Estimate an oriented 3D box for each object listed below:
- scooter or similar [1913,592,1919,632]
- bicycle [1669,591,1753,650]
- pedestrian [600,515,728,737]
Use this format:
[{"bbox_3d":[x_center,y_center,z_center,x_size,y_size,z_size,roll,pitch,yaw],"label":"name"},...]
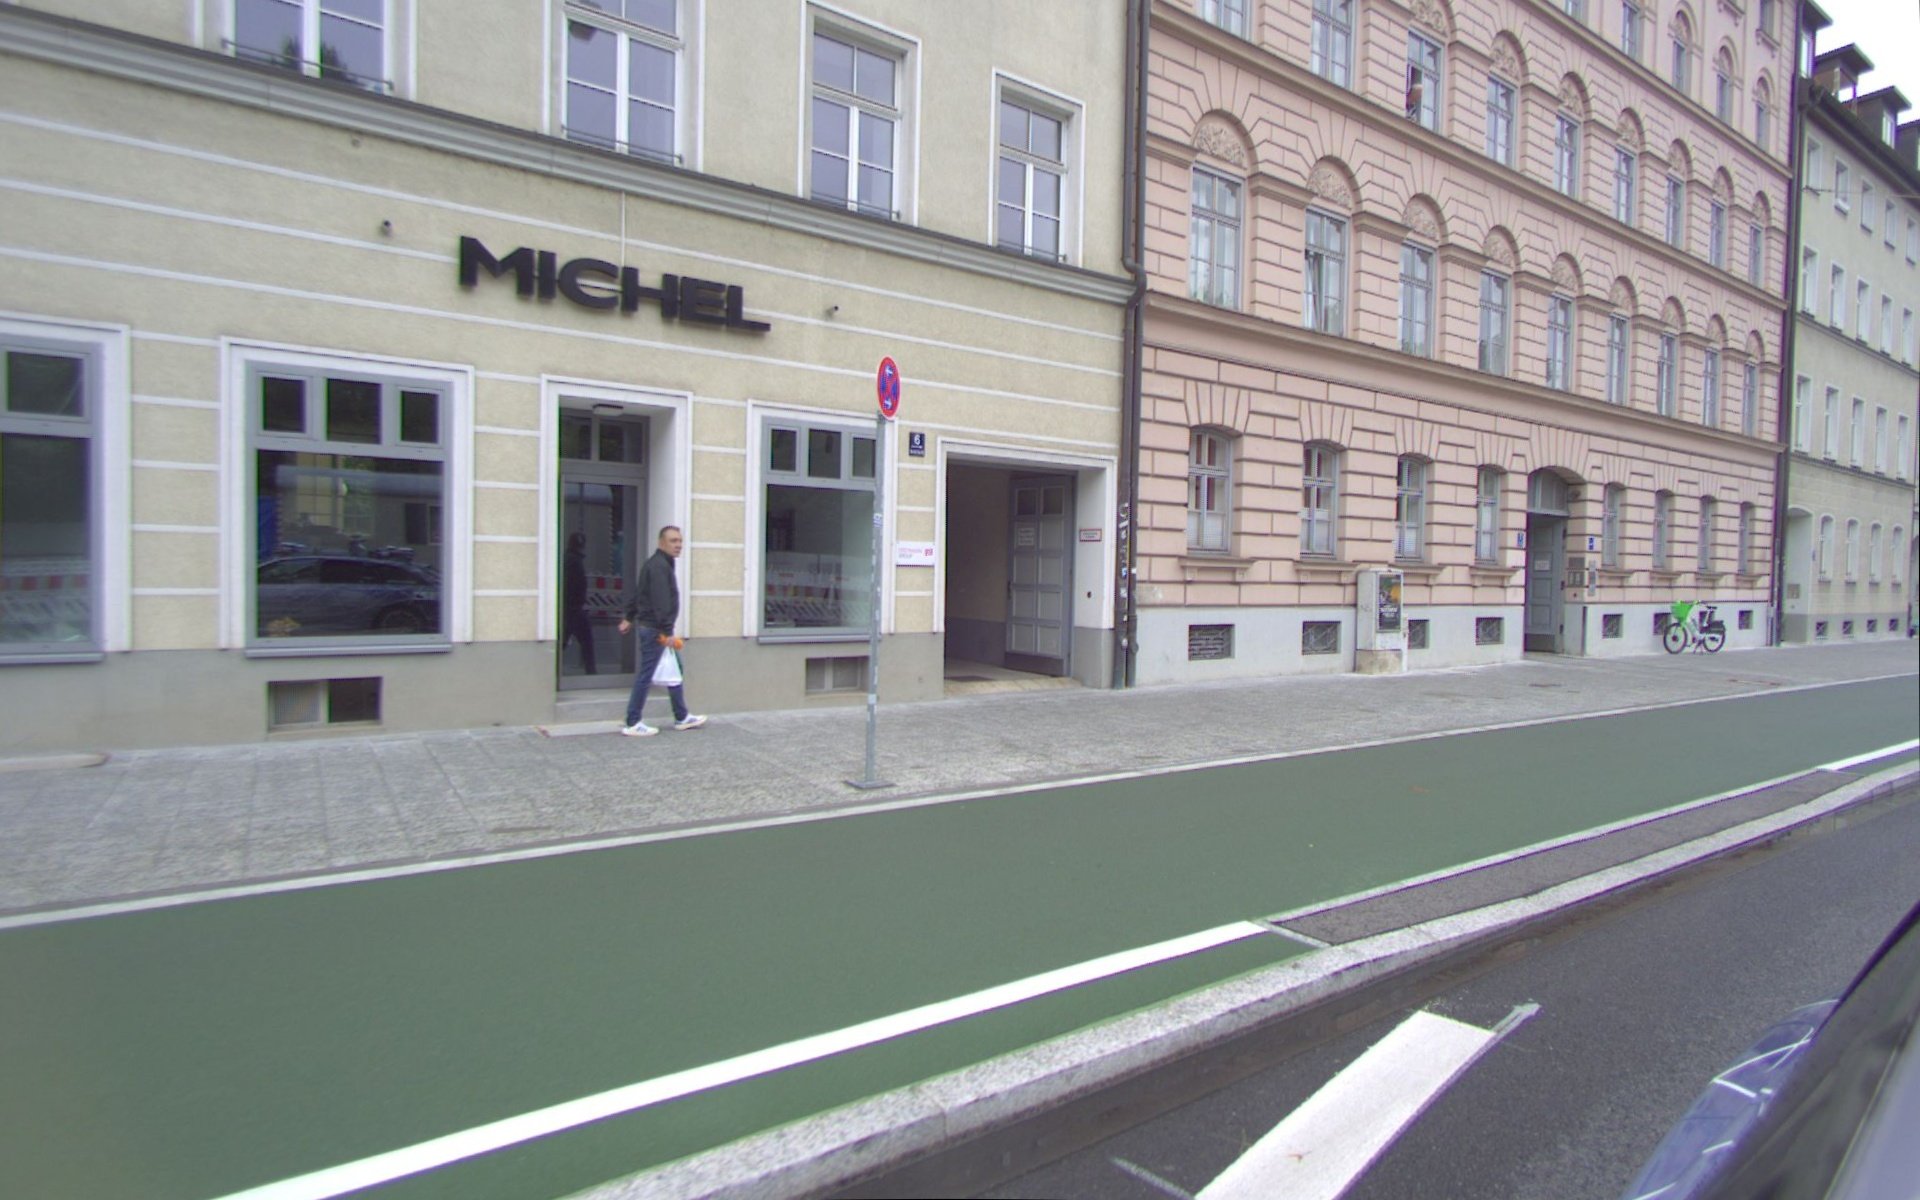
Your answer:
[{"bbox_3d":[30.958,0.387,32.001,1.057,1.260,0.553,1,2,1],"label":"scooter or similar"},{"bbox_3d":[16.026,0.435,21.606,1.689,1.191,0.559,1,2,-20],"label":"bicycle"},{"bbox_3d":[-2.523,0.191,8.601,0.817,1.767,0.797,0,2,-34],"label":"pedestrian"}]
